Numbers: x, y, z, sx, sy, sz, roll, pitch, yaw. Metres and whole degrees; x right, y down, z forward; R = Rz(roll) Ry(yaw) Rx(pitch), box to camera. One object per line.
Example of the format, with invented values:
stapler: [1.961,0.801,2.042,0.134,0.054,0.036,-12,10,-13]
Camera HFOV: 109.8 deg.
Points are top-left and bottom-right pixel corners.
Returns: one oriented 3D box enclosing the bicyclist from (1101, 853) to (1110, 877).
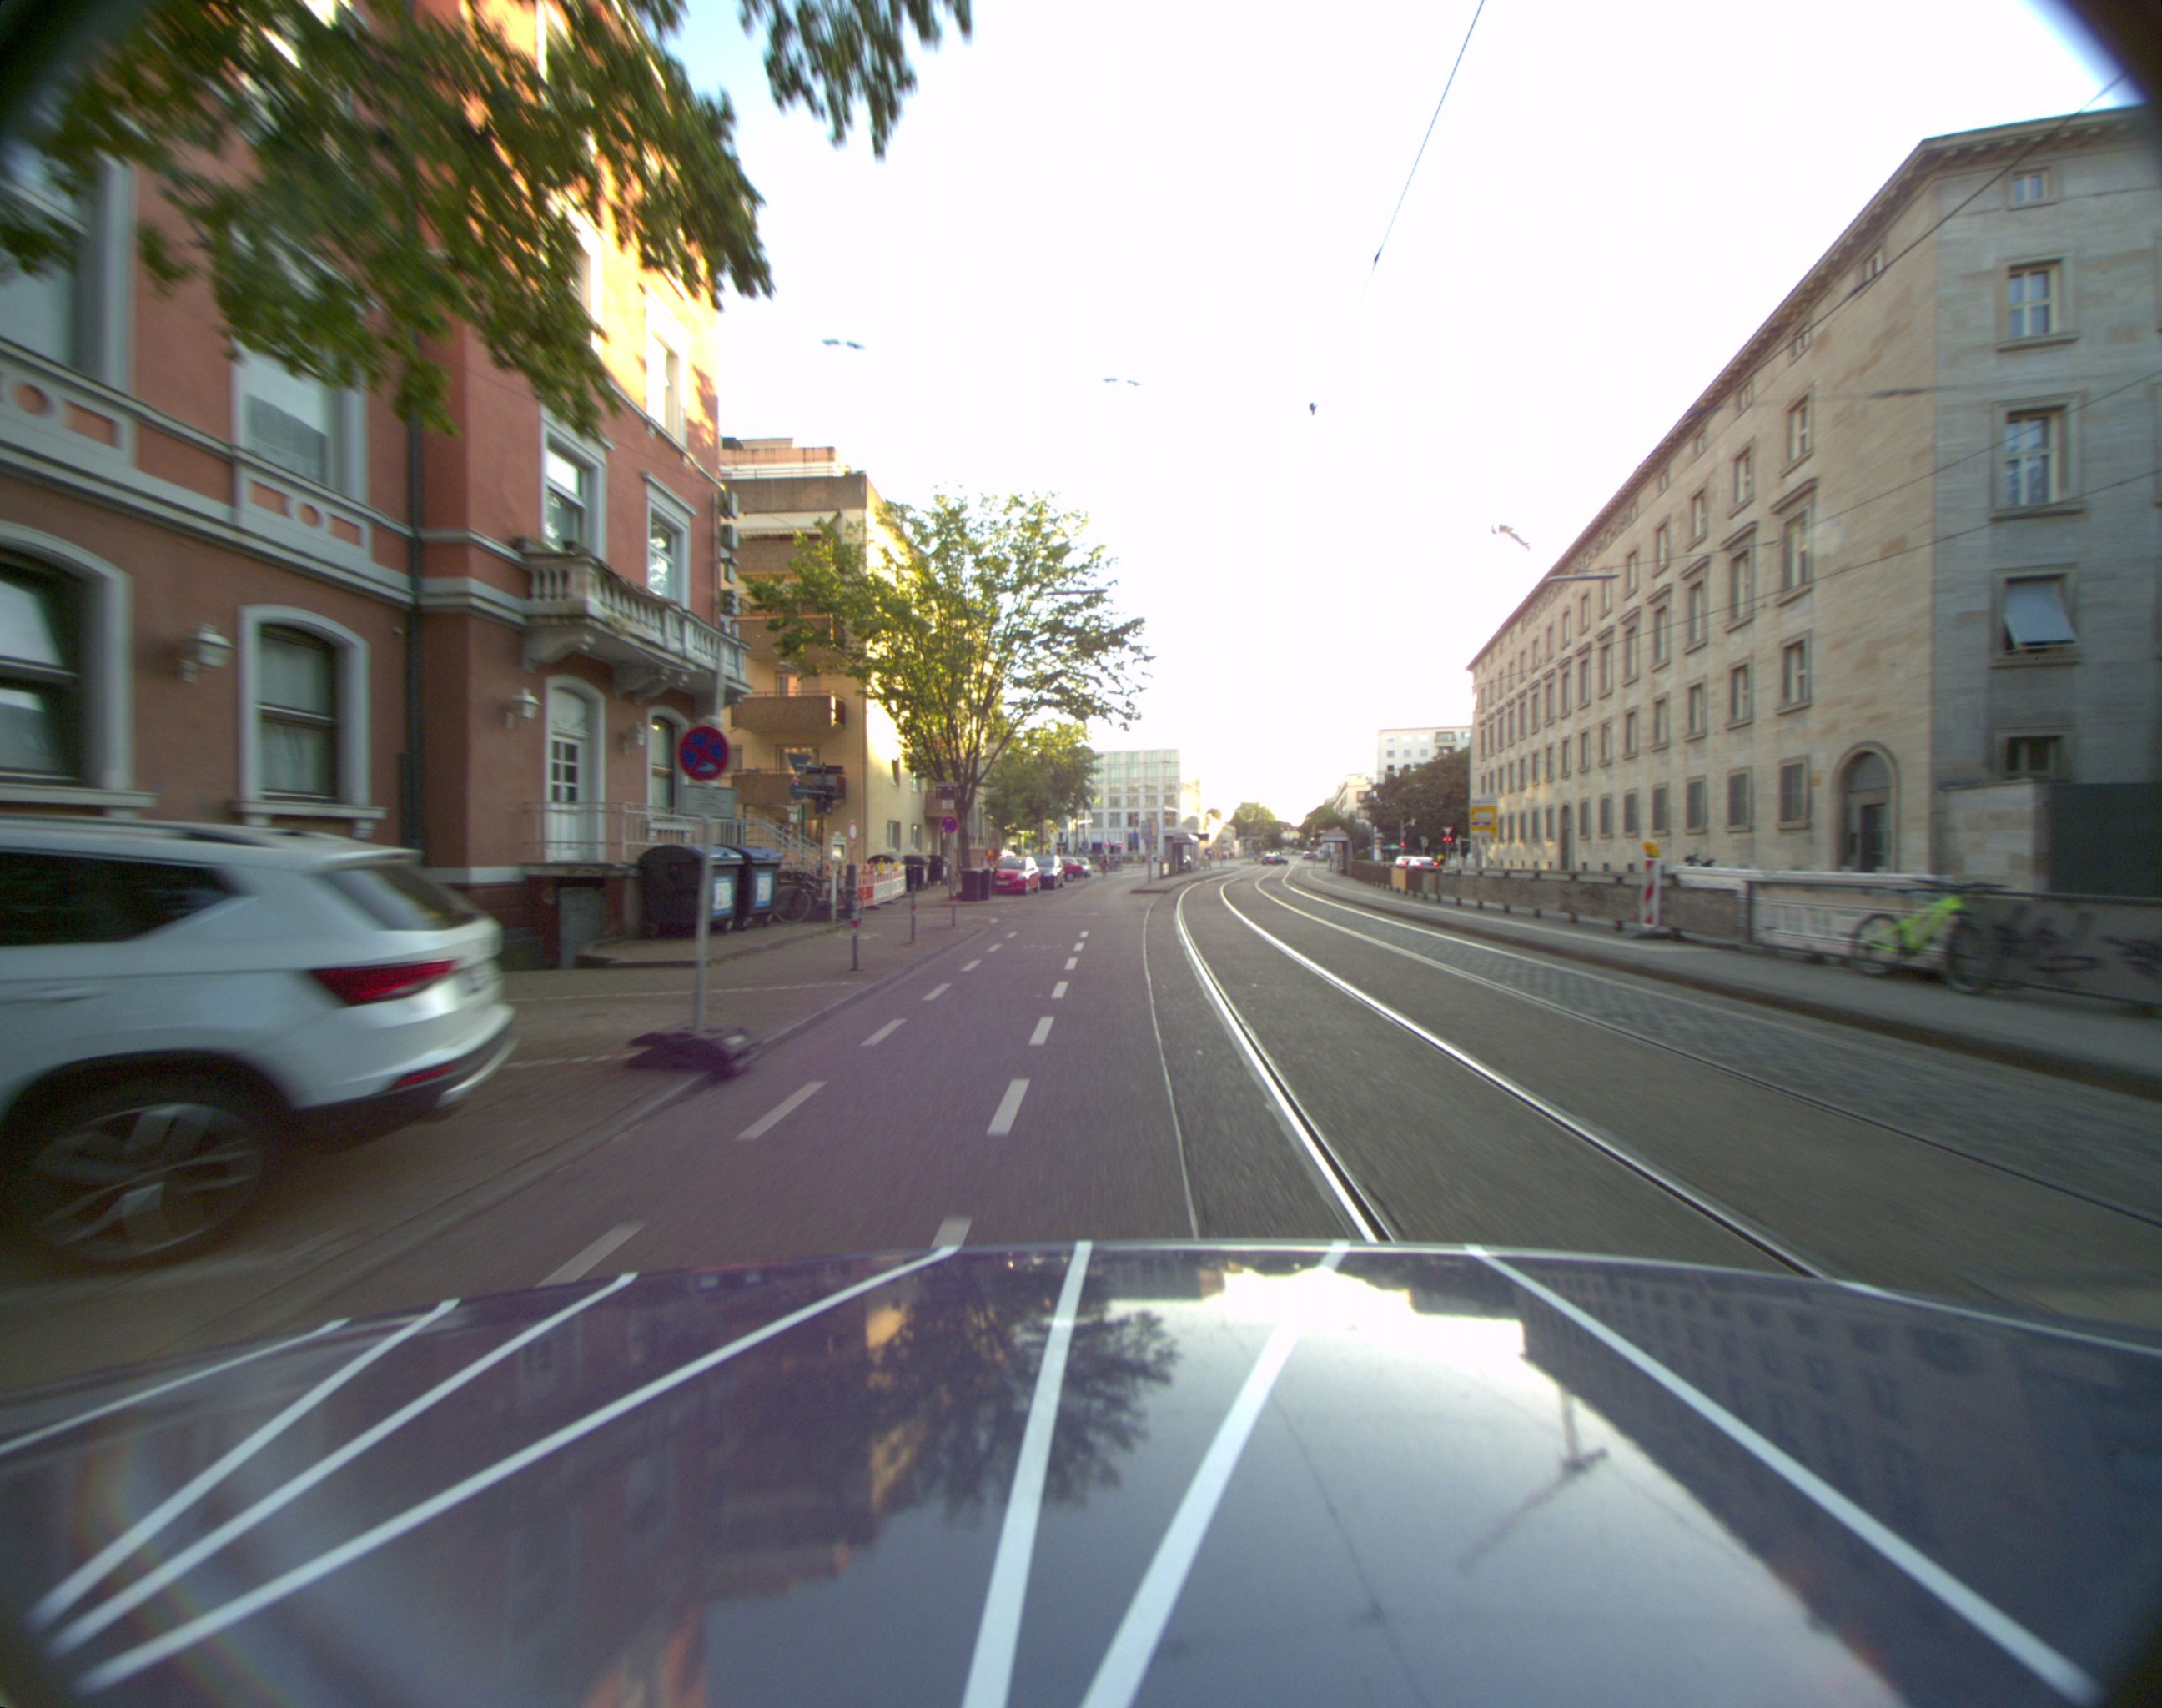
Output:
bicyclist: [1.641,0.719,50.983,0.610,1.626,0.597,0,1,4]

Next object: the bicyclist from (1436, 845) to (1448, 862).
bicyclist: [29.782,-0.032,62.695,0.757,1.432,0.598,0,1,17]

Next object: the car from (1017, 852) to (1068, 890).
car: [-1.745,0.725,35.550,1.747,1.622,4.090,2,1,6]

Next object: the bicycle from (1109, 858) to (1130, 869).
bicycle: [3.737,0.888,73.526,1.860,1.068,0.745,0,0,34]

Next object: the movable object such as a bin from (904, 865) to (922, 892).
movable object such as a bin: [-6.576,0.960,29.784,0.555,1.041,0.571,-1,1,2]

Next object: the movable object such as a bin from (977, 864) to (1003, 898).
movable object such as a bin: [-3.211,0.943,26.799,0.624,1.147,0.714,-1,1,-44]

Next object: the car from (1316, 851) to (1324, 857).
car: [59.878,0.002,190.353,1.719,1.422,3.815,0,0,20]

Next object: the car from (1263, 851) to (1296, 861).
car: [26.529,0.253,101.548,4.179,1.412,1.695,0,1,-26]

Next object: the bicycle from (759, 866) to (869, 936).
bicycle: [-5.127,0.877,14.653,1.922,1.259,0.600,0,1,-32]

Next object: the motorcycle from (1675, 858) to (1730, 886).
motorcycle: [24.990,0.691,30.602,0.699,1.068,2.657,0,0,16]

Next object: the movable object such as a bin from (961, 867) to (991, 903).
movable object such as a bin: [-3.405,1.008,24.622,0.794,1.147,0.589,-1,1,15]

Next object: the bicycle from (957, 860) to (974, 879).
bicycle: [-6.694,0.902,44.205,0.652,1.068,1.556,-1,0,3]

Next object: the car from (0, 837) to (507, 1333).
car: [-4.761,0.731,2.796,3.961,1.617,1.670,2,0,-27]

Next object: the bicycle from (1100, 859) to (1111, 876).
bicycle: [1.659,0.879,51.110,0.609,1.108,2.087,0,0,5]

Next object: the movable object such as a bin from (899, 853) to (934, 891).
movable object such as a bin: [-6.648,0.711,30.729,1.074,1.493,1.319,-1,0,1]

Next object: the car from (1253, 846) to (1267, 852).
car: [51.527,-1.337,219.018,3.802,1.639,1.866,0,0,16]

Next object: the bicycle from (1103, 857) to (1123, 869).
bicycle: [3.052,0.865,72.387,1.757,1.068,0.745,0,0,18]

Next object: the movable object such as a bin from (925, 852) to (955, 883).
movable object such as a bin: [-6.819,0.645,36.834,1.116,1.493,1.482,-1,0,3]

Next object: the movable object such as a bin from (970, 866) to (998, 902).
movable object such as a bin: [-3.226,0.992,25.281,0.713,1.147,0.589,-1,1,15]

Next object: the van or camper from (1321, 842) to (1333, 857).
van or camper: [47.234,-0.823,146.091,2.107,2.665,4.718,-1,-2,18]

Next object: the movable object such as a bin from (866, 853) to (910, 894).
movable object such as a bin: [-7.252,0.718,28.650,1.143,1.493,1.598,-1,0,3]

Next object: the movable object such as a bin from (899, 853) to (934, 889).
movable object such as a bin: [-7.011,0.712,32.435,1.143,1.493,1.270,-1,1,3]

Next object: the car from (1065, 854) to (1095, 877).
car: [-0.034,0.781,53.850,1.683,1.544,4.002,3,1,5]

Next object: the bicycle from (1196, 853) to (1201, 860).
bicycle: [18.289,0.364,117.987,0.539,1.045,1.763,0,0,17]

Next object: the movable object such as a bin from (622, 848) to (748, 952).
movable object such as a bin: [-6.032,0.666,11.693,1.143,1.493,1.399,-1,0,3]

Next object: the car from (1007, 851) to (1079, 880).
car: [-2.375,0.697,48.068,4.216,1.715,1.718,-1,0,-26]

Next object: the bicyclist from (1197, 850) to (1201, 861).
bicyclist: [18.273,0.270,117.991,0.540,1.626,0.598,0,1,17]

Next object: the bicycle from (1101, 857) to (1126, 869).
bicycle: [3.104,0.863,72.663,2.233,1.125,0.745,1,1,18]

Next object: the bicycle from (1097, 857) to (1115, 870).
bicycle: [2.282,0.872,69.150,1.528,1.156,0.745,-1,0,18]

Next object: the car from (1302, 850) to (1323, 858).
car: [48.946,-0.076,160.785,1.889,1.654,4.337,-1,0,-23]

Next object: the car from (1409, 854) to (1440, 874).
car: [26.824,0.755,59.487,1.644,1.419,3.709,2,1,16]

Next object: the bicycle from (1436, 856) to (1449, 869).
bicycle: [29.741,0.712,62.549,0.742,1.011,1.763,0,0,17]

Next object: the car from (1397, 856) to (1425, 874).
car: [28.548,0.945,65.793,1.645,1.419,4.237,0,0,16]

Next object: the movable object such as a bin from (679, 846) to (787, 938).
movable object such as a bin: [-5.968,0.622,13.137,1.143,1.493,1.399,-1,0,3]

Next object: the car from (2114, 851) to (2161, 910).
car: [27.220,0.619,17.892,3.180,1.411,1.480,0,0,16]

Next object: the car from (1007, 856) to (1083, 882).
car: [-2.138,0.863,45.393,4.216,1.445,1.642,-1,0,-27]

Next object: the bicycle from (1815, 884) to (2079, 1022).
bicycle: [8.282,0.874,7.424,0.463,1.069,2.023,0,0,7]

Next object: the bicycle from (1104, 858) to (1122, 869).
bicycle: [2.971,0.877,70.268,1.553,1.068,0.745,0,0,18]

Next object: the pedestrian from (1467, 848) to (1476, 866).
pedestrian: [37.207,0.258,72.356,0.696,1.700,0.647,0,1,19]

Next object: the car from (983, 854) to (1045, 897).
car: [-2.568,0.789,29.879,1.567,1.527,3.695,2,1,8]
